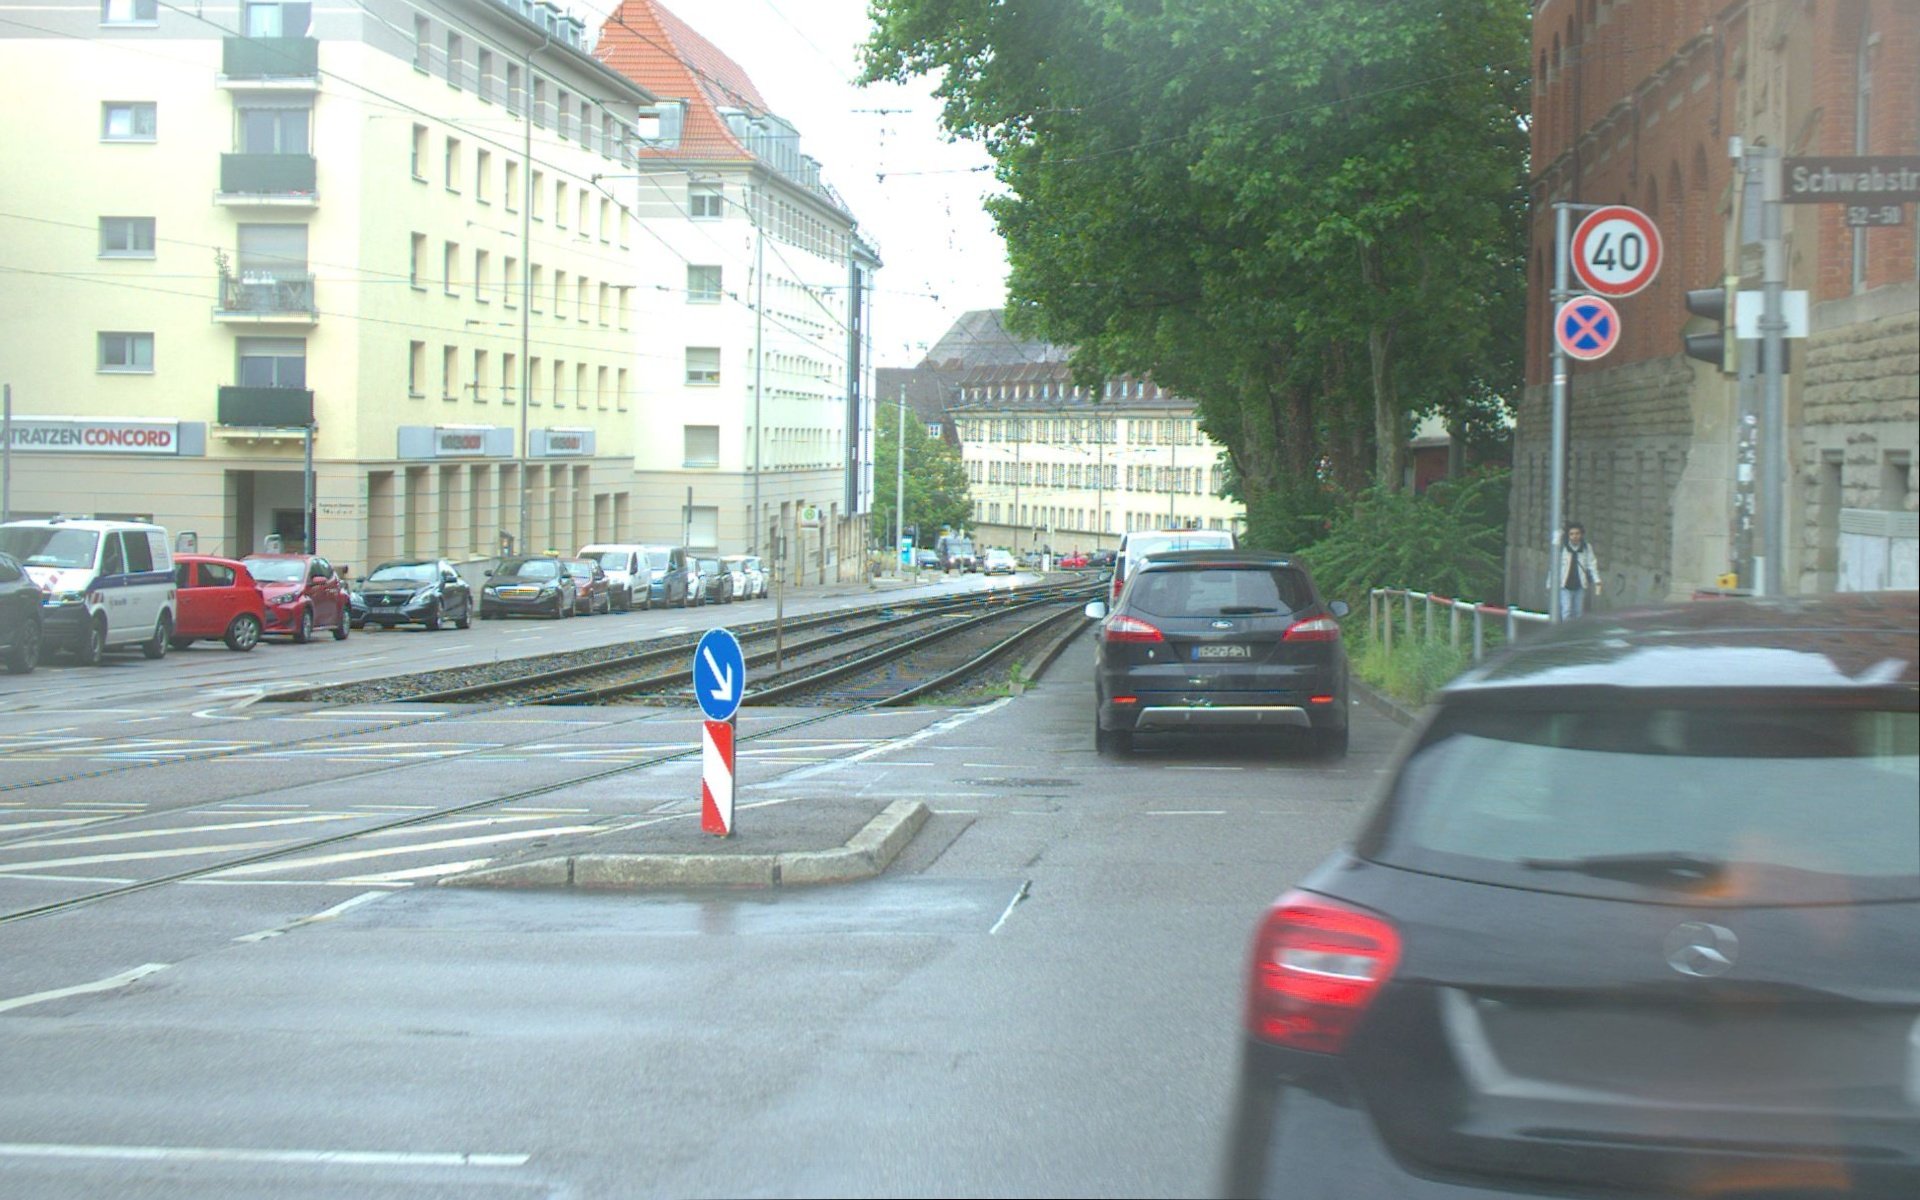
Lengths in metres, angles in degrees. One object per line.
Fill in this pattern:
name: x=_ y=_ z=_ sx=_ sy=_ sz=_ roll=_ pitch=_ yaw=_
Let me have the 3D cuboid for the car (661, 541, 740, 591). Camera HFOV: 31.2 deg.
car: x=-8.174 y=-1.102 z=108.520 sx=1.813 sy=1.494 sz=4.582 roll=1 pitch=1 yaw=4

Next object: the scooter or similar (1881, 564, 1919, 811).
scooter or similar: x=5.399 y=0.435 z=17.515 sx=1.248 sy=1.246 sz=0.637 roll=-1 pitch=0 yaw=26

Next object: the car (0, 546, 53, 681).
car: x=-12.667 y=0.164 z=42.031 sx=1.733 sy=1.645 sz=4.363 roll=1 pitch=1 yaw=4

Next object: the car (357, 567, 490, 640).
car: x=-10.547 y=0.046 z=67.899 sx=1.680 sy=1.391 sz=4.622 roll=0 pitch=1 yaw=3

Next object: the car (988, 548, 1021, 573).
car: x=2.732 y=-2.442 z=212.282 sx=1.712 sy=1.457 sz=4.280 roll=0 pitch=1 yaw=5

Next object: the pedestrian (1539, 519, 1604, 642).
pedestrian: x=8.354 y=-0.270 z=47.004 sx=0.823 sy=1.673 sz=0.859 roll=0 pitch=1 yaw=7

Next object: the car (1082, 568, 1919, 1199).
car: x=1.897 y=0.673 z=6.398 sx=1.797 sy=1.370 sz=3.994 roll=1 pitch=2 yaw=27

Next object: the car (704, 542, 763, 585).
car: x=-7.715 y=-1.266 z=117.568 sx=1.704 sy=1.392 sz=3.936 roll=1 pitch=1 yaw=0

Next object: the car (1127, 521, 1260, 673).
car: x=3.198 y=-0.061 z=47.698 sx=1.740 sy=2.007 sz=3.903 roll=0 pitch=1 yaw=3

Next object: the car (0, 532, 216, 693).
car: x=-12.244 y=0.112 z=48.141 sx=2.070 sy=2.002 sz=5.301 roll=3 pitch=1 yaw=4

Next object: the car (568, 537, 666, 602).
car: x=-9.269 y=-0.841 z=93.153 sx=1.867 sy=1.711 sz=4.459 roll=0 pitch=1 yaw=5

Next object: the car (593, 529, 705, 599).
car: x=-8.920 y=-1.057 z=99.074 sx=1.994 sy=1.898 sz=5.458 roll=2 pitch=1 yaw=8

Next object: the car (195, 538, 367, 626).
car: x=-11.565 y=-0.322 z=58.792 sx=1.654 sy=1.446 sz=4.072 roll=0 pitch=1 yaw=8

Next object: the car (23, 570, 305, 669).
car: x=-12.210 y=0.276 z=52.907 sx=1.784 sy=1.429 sz=3.973 roll=1 pitch=1 yaw=38

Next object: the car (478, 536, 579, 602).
car: x=-10.157 y=-0.743 z=81.258 sx=1.851 sy=1.503 sz=4.992 roll=0 pitch=1 yaw=-1

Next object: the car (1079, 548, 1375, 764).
car: x=1.905 y=0.360 z=25.738 sx=1.933 sy=1.448 sz=4.317 roll=1 pitch=1 yaw=1

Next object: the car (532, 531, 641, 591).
car: x=-9.389 y=-0.996 z=86.794 sx=1.851 sy=1.427 sz=4.831 roll=2 pitch=1 yaw=4

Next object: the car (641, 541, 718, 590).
car: x=-8.470 y=-1.048 z=103.988 sx=1.691 sy=1.434 sz=4.049 roll=0 pitch=1 yaw=4
